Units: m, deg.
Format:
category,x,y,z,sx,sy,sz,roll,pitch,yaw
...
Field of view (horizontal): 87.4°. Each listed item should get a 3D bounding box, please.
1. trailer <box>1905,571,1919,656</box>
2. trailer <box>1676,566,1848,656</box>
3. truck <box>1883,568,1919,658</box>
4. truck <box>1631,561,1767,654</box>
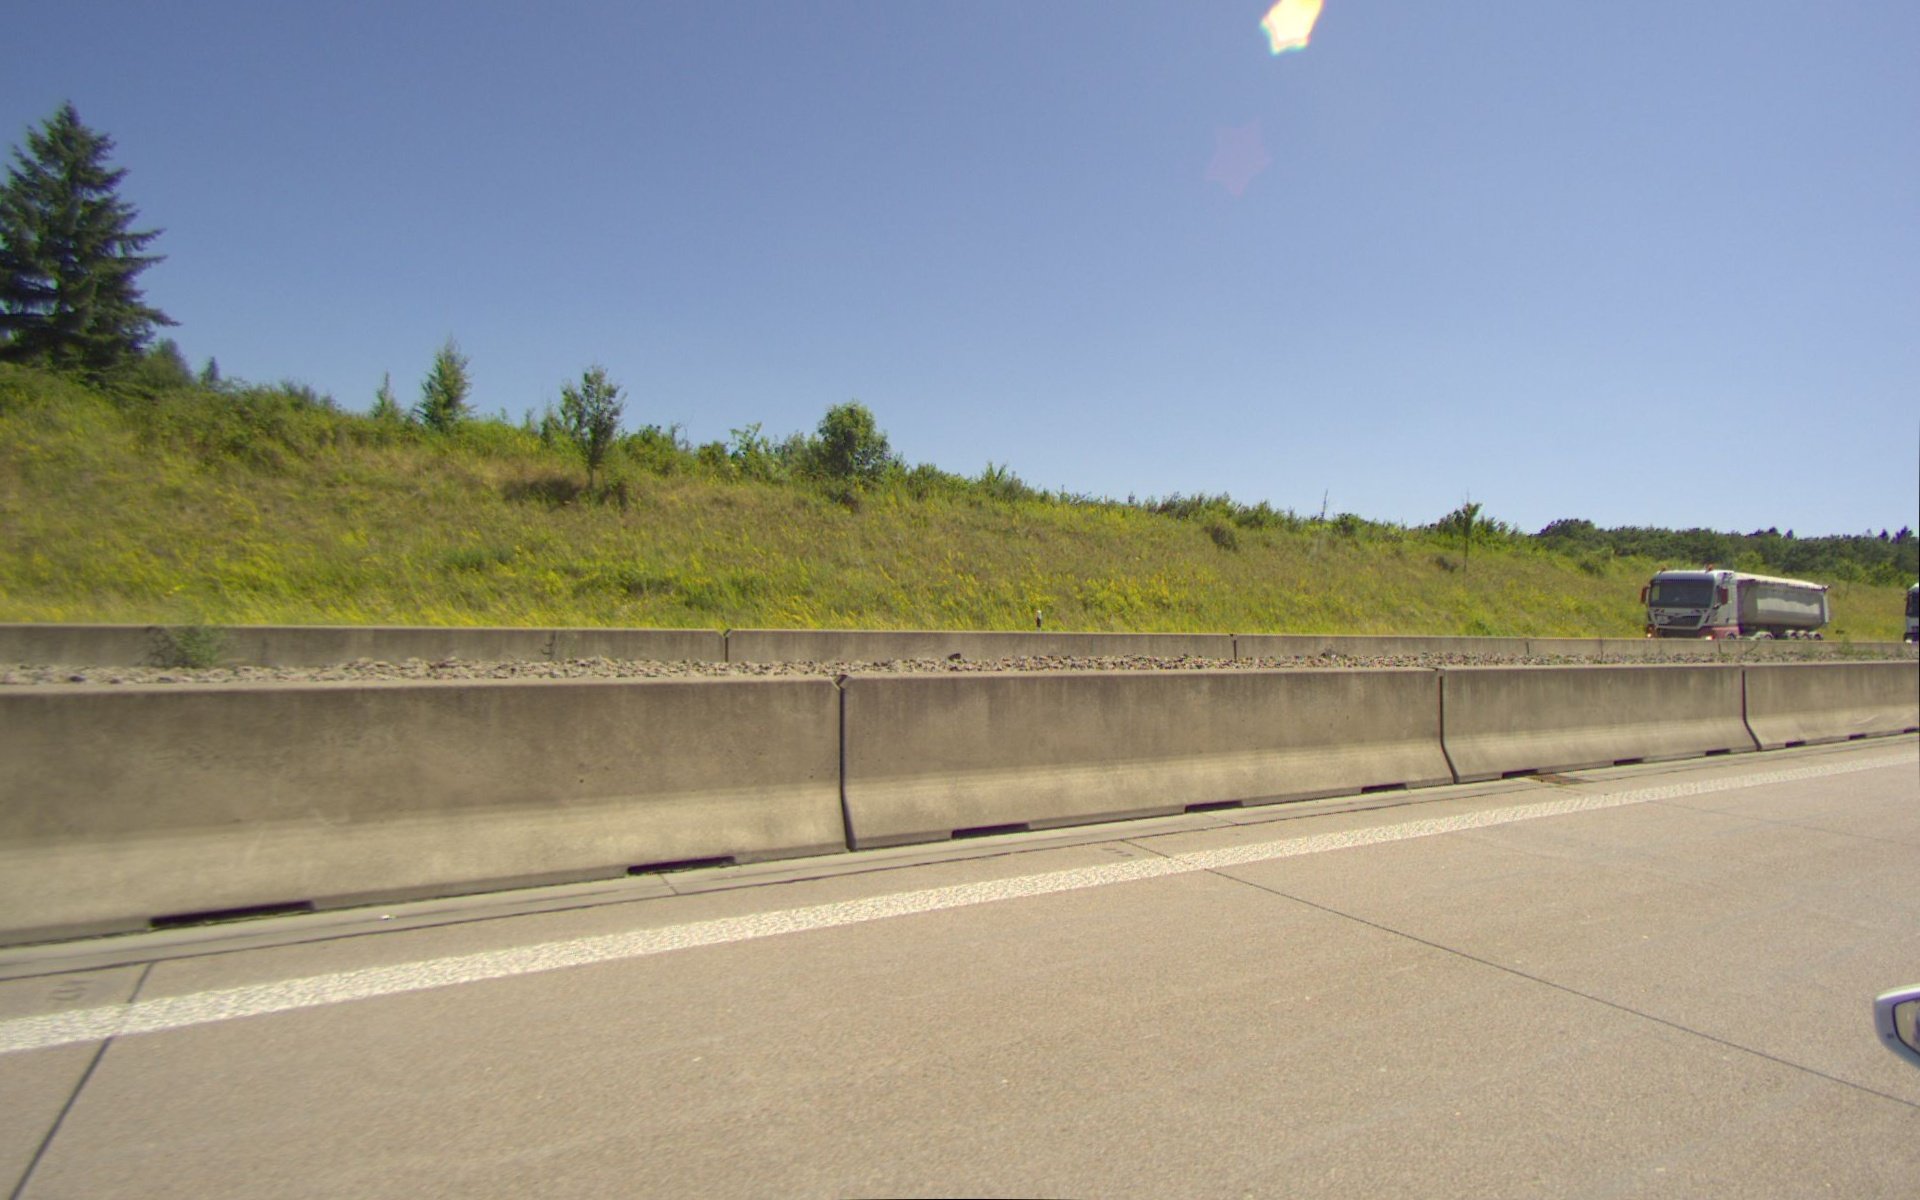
category,x,y,z,sx,sy,sz,roll,pitch,yaw
trailer,51.210,0.924,49.860,13.723,3.985,3.141,2,2,-34
trailer,34.588,0.519,43.211,8.853,3.459,2.711,2,2,-31
truck,45.223,0.707,45.825,5.776,3.985,3.141,2,2,-34
truck,29.538,0.303,40.160,4.461,3.459,2.711,2,2,-31
